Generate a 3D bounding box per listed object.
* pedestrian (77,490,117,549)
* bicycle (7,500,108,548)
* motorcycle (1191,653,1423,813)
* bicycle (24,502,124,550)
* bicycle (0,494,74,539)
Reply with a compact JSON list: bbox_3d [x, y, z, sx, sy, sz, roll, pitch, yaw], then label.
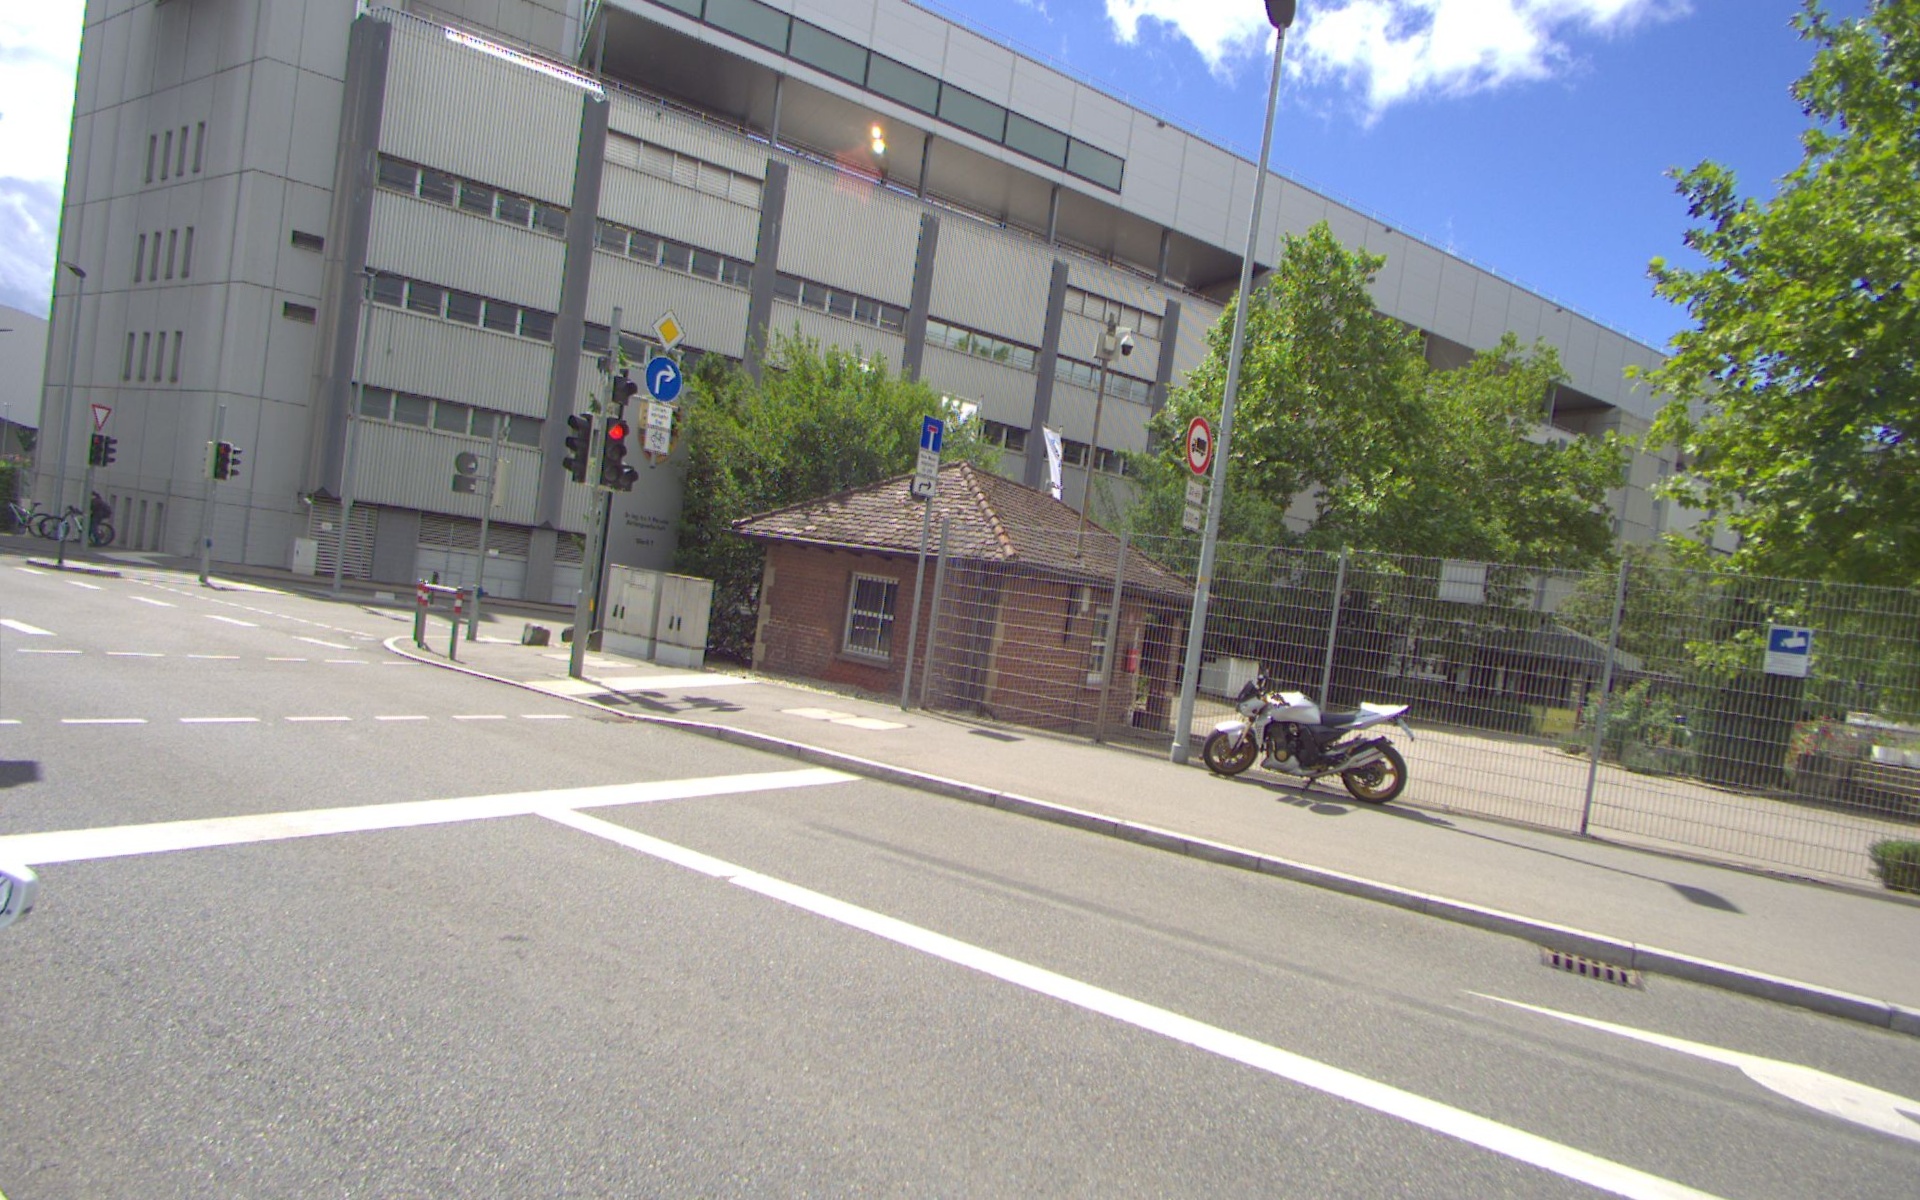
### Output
[{"bbox_3d":[-25.982,-2.421,30.288,0.651,1.659,0.531,8,-1,-30],"label":"pedestrian"},{"bbox_3d":[-27.950,-2.334,31.203,2.197,1.099,0.474,8,-1,-23],"label":"bicycle"},{"bbox_3d":[3.429,1.262,10.025,1.980,1.239,0.687,6,2,32],"label":"motorcycle"},{"bbox_3d":[-27.234,-2.249,30.949,2.166,1.099,0.474,8,-1,-23],"label":"bicycle"},{"bbox_3d":[-29.285,-2.640,31.488,2.197,1.099,0.474,8,-1,-23],"label":"bicycle"}]
